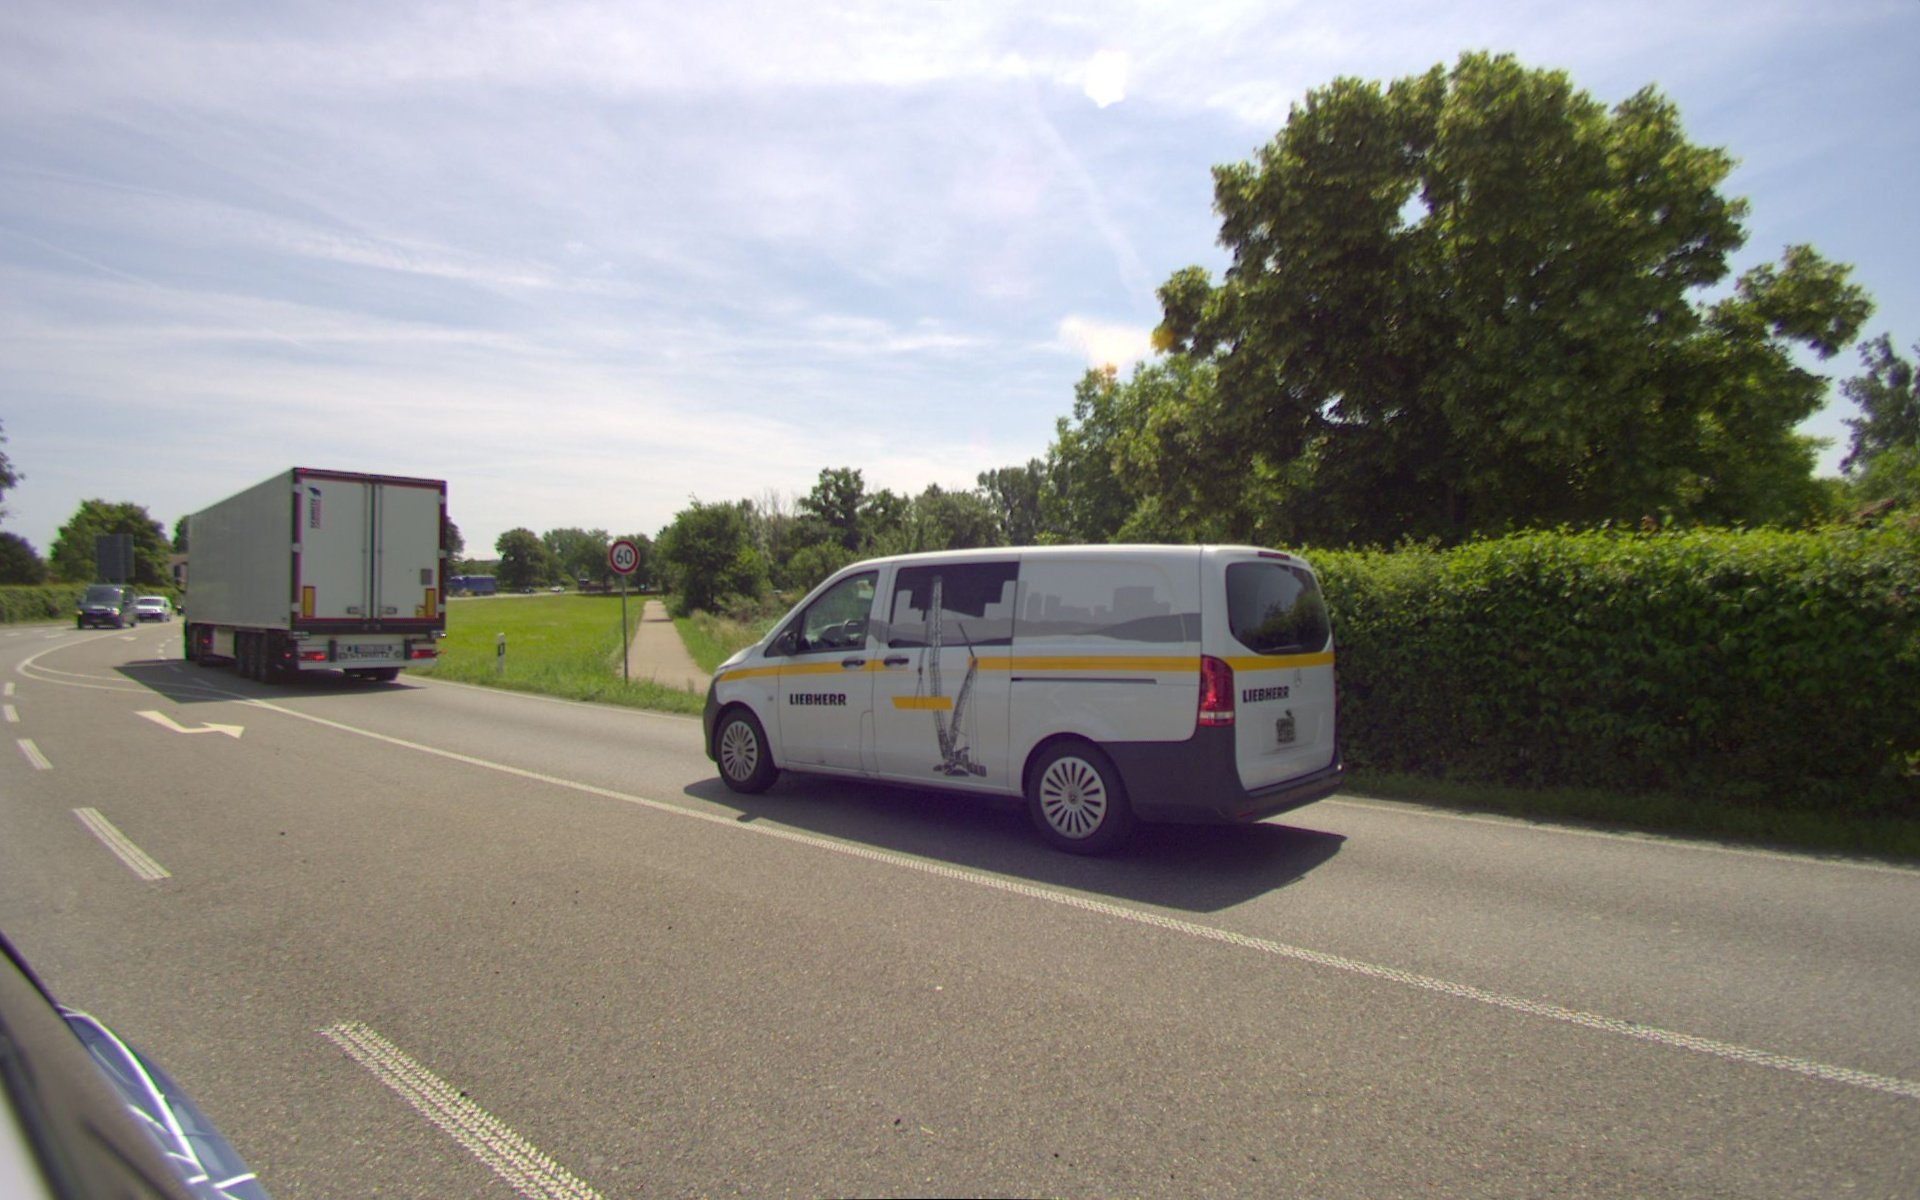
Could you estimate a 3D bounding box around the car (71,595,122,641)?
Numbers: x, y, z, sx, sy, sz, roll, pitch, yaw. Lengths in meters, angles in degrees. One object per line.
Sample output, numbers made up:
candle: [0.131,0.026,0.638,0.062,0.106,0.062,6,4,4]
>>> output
car: [-49.960,1.002,58.511,1.953,2.538,4.160,0,0,-45]

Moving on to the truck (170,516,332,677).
truck: [-19.708,-0.010,28.014,2.745,3.973,5.710,3,-2,-44]

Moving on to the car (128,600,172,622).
car: [-57.986,0.779,72.514,1.753,1.504,4.171,0,0,-28]

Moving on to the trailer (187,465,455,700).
trailer: [-14.919,-0.205,22.956,2.745,4.133,11.669,3,-2,-44]

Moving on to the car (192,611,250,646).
car: [-34.986,1.318,47.981,1.593,1.570,4.013,0,0,-27]

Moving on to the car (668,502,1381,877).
car: [0.140,0.516,7.451,5.136,1.879,1.854,-2,-2,40]
